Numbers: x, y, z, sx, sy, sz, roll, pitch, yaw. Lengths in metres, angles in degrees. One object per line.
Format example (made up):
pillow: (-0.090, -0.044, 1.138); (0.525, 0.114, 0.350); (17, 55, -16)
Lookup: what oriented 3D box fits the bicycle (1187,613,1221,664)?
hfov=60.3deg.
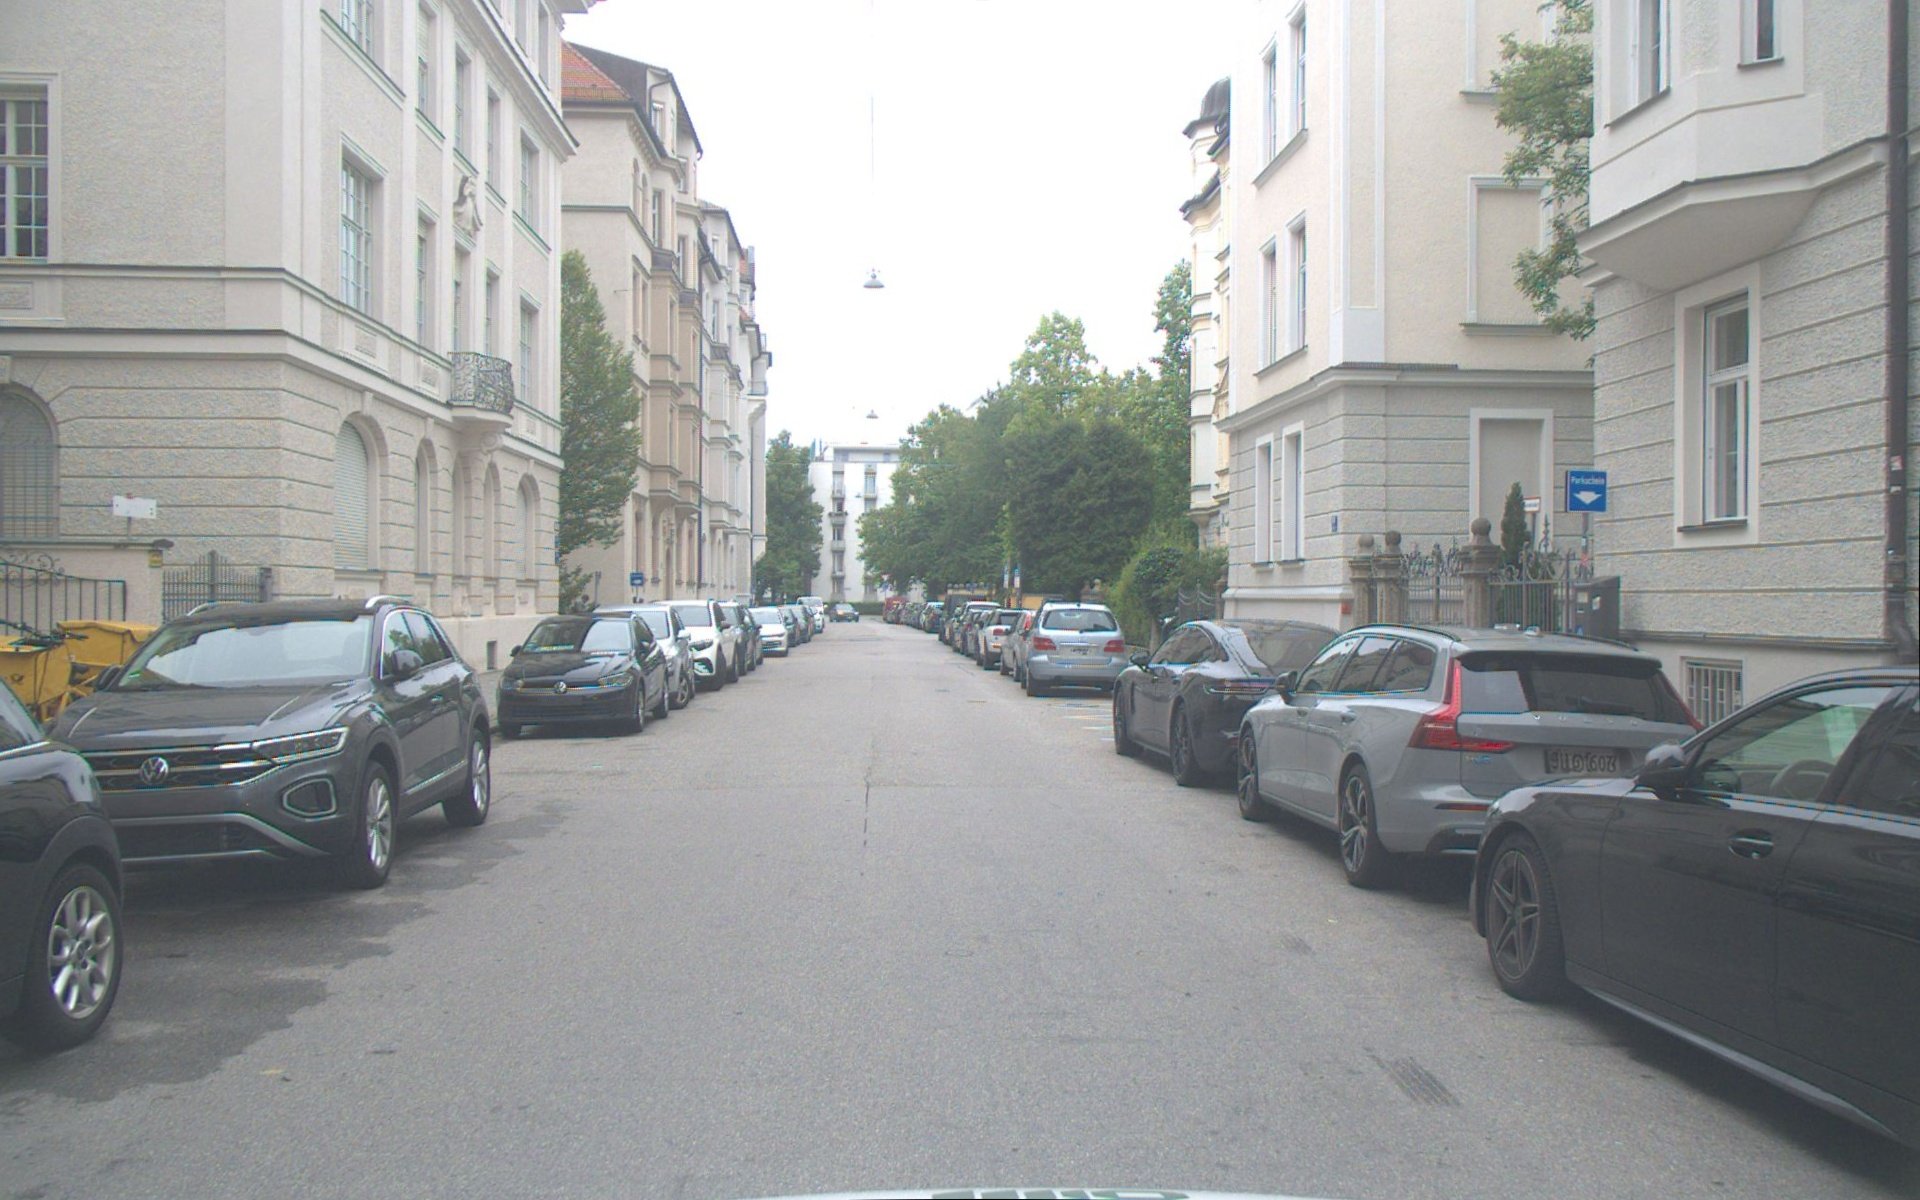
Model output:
bicycle: (5.644, 0.880, 38.293); (0.425, 1.145, 1.881); (0, 0, -2)

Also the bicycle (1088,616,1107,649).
bicycle: (4.740, 1.130, 57.118); (0.445, 1.118, 1.312); (0, -1, -4)

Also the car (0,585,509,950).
car: (-3.963, 0.790, 9.815); (1.693, 1.647, 4.117); (-2, 0, -5)

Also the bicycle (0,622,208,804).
bicycle: (-7.464, 0.870, 13.805); (1.129, 1.264, 2.715); (4, 0, -2)

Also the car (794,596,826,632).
car: (-9.605, 0.886, 106.016); (1.849, 2.165, 4.701); (-3, 0, -5)

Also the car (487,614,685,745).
car: (-4.725, 0.943, 21.467); (1.757, 1.440, 4.276); (-2, 0, -3)

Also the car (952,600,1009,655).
car: (0.680, 0.954, 57.976); (1.688, 1.800, 4.410); (3, -1, -2)

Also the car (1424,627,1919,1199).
car: (3.310, 0.886, 5.223); (1.801, 1.423, 4.967); (2, 0, -6)

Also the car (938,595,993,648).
car: (0.183, 0.830, 67.455); (1.912, 1.988, 4.663); (2, 1, -3)

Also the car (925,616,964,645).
car: (-0.842, 1.572, 85.658); (1.802, 1.438, 4.339); (1, -1, -3)

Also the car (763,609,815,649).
car: (-6.901, 1.154, 67.005); (1.800, 1.461, 4.242); (-3, 0, -3)

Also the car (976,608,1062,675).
car: (1.403, 0.983, 40.634); (1.749, 1.531, 4.062); (1, 0, -3)

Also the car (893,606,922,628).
car: (-3.974, 1.272, 124.130); (1.803, 1.545, 3.942); (1, -1, -7)

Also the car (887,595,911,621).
car: (-4.970, 0.651, 135.969); (1.799, 1.960, 4.004); (3, 0, -1)

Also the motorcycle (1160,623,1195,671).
motorcycle: (5.279, 1.128, 40.270); (0.595, 1.132, 1.964); (0, 0, 0)

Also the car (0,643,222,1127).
car: (-3.814, 0.920, 4.478); (1.799, 1.418, 4.243); (-2, 0, -2)

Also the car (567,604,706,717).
car: (-5.019, 0.888, 26.151); (1.748, 1.568, 4.251); (-2, 0, -6)

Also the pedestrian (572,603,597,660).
pedestrian: (-11.021, 0.923, 48.562); (0.660, 1.654, 0.630); (0, 0, -6)

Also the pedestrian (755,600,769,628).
pedestrian: (-12.227, 0.872, 102.177); (0.778, 1.708, 0.698); (0, 0, -13)

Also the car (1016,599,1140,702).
car: (2.031, 0.839, 29.644); (1.785, 1.596, 4.399); (3, 0, -1)

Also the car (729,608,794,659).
car: (-6.205, 1.017, 52.001); (1.800, 1.459, 4.240); (-2, 0, -5)

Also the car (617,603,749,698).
car: (-5.133, 0.888, 31.207); (1.876, 1.647, 4.569); (0, 0, -2)

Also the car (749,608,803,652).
car: (-6.789, 1.082, 61.402); (1.797, 1.459, 4.550); (-2, 0, -4)

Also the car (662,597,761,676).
car: (-5.453, 0.765, 36.725); (1.800, 1.647, 4.241); (0, 0, -3)

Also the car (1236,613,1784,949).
car: (3.066, 0.908, 10.292); (1.725, 1.511, 4.418); (3, 0, -2)

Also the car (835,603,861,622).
car: (-9.118, 1.013, 134.295); (1.839, 1.453, 4.401); (0, 0, -8)

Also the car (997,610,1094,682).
car: (1.779, 0.954, 35.428); (1.719, 1.431, 3.449); (1, 0, -3)

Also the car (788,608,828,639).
car: (-8.017, 1.241, 87.583); (1.800, 1.463, 4.272); (-3, 0, -3)

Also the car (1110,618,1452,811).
car: (2.796, 0.941, 15.606); (1.955, 1.483, 4.708); (0, 0, -5)

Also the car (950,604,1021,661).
car: (0.769, 1.000, 52.935); (1.716, 1.639, 4.418); (2, 0, -6)
